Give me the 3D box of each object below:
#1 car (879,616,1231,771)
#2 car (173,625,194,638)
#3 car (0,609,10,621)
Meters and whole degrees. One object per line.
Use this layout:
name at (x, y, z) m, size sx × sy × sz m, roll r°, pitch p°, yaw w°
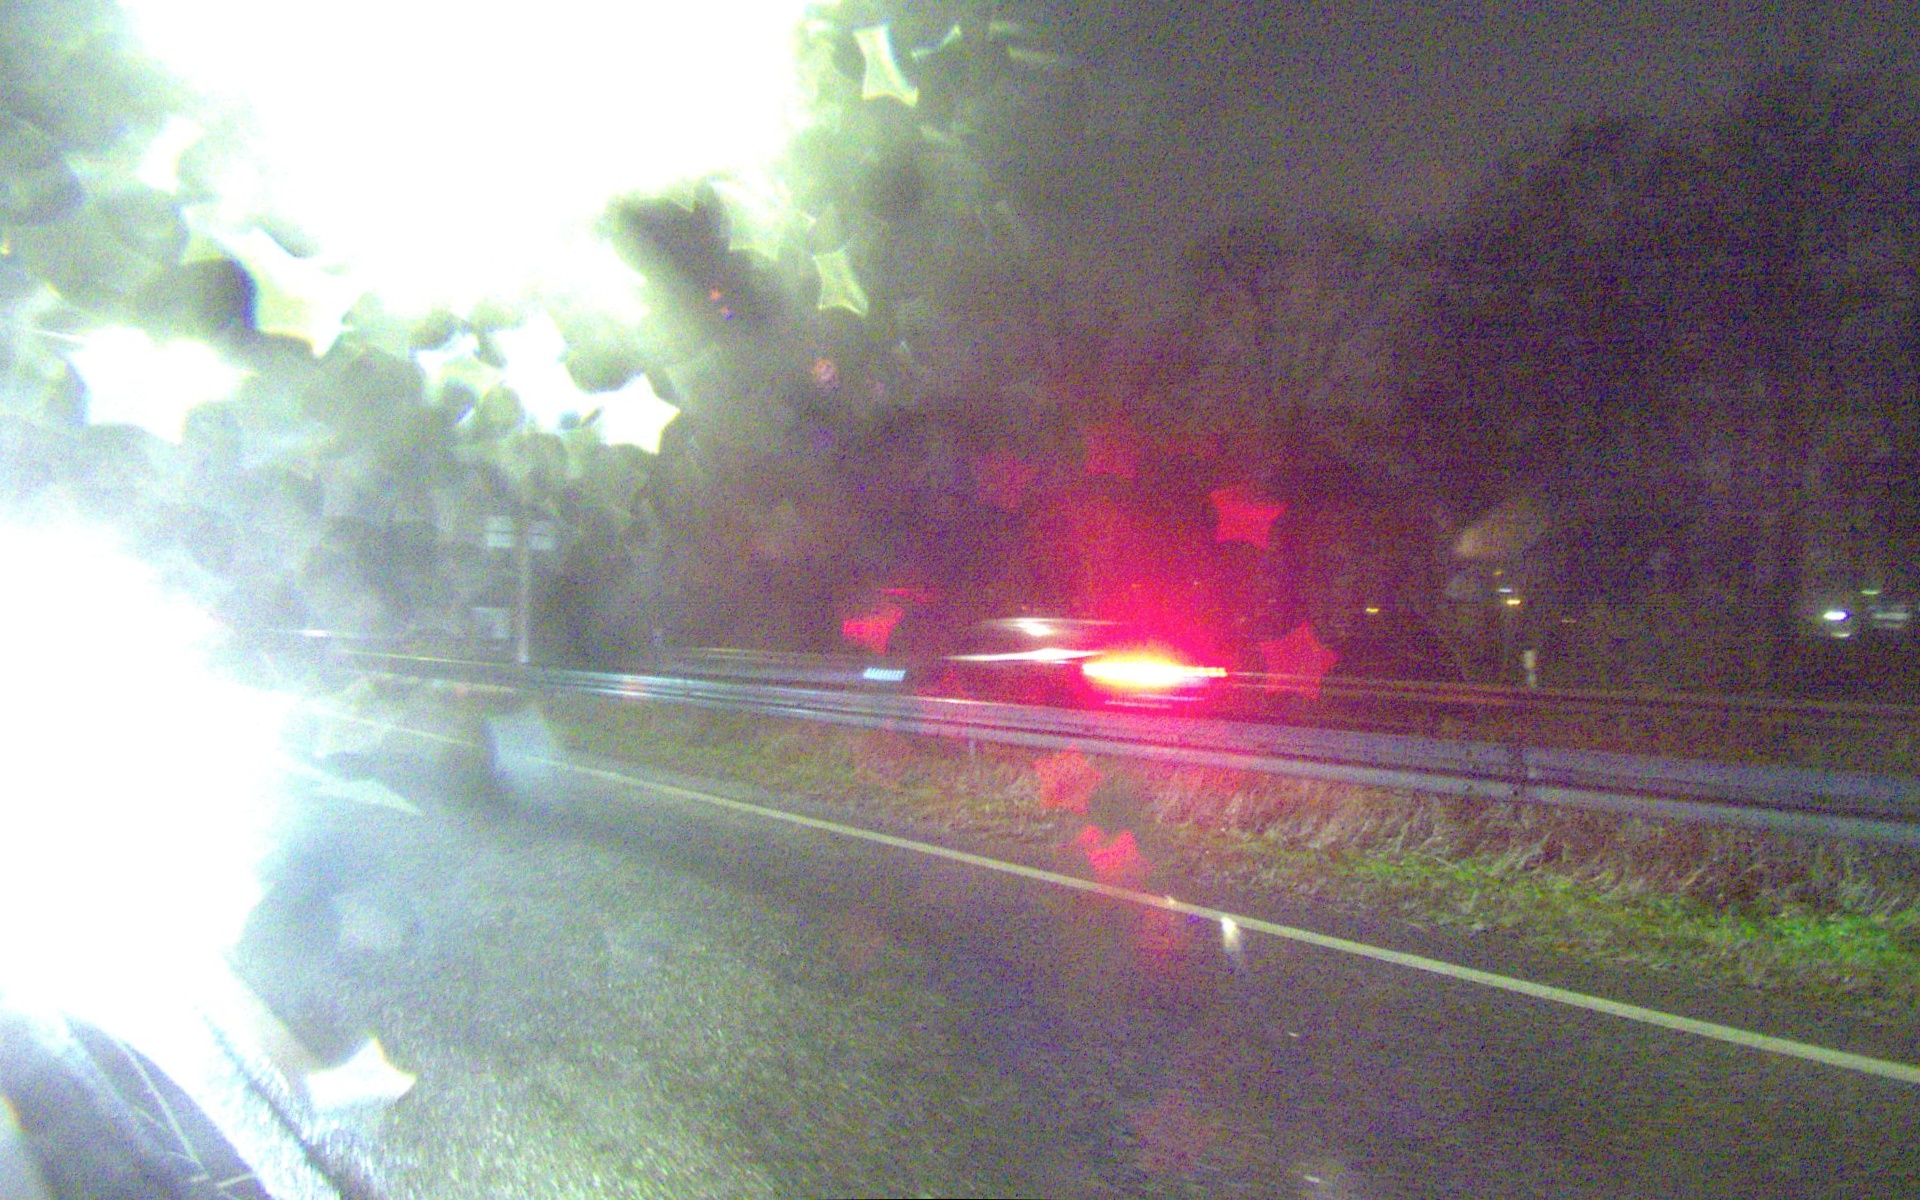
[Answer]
car at (1.023, 0.981, 12.194) m, size 4.010 × 1.564 × 1.732 m, roll -1°, pitch -2°, yaw 43°
car at (-104.726, 4.258, 136.483) m, size 1.840 × 1.660 × 4.003 m, roll 0°, pitch -1°, yaw -44°
car at (-127.607, 2.009, 134.449) m, size 4.000 × 1.660 × 1.764 m, roll -1°, pitch -1°, yaw 43°
